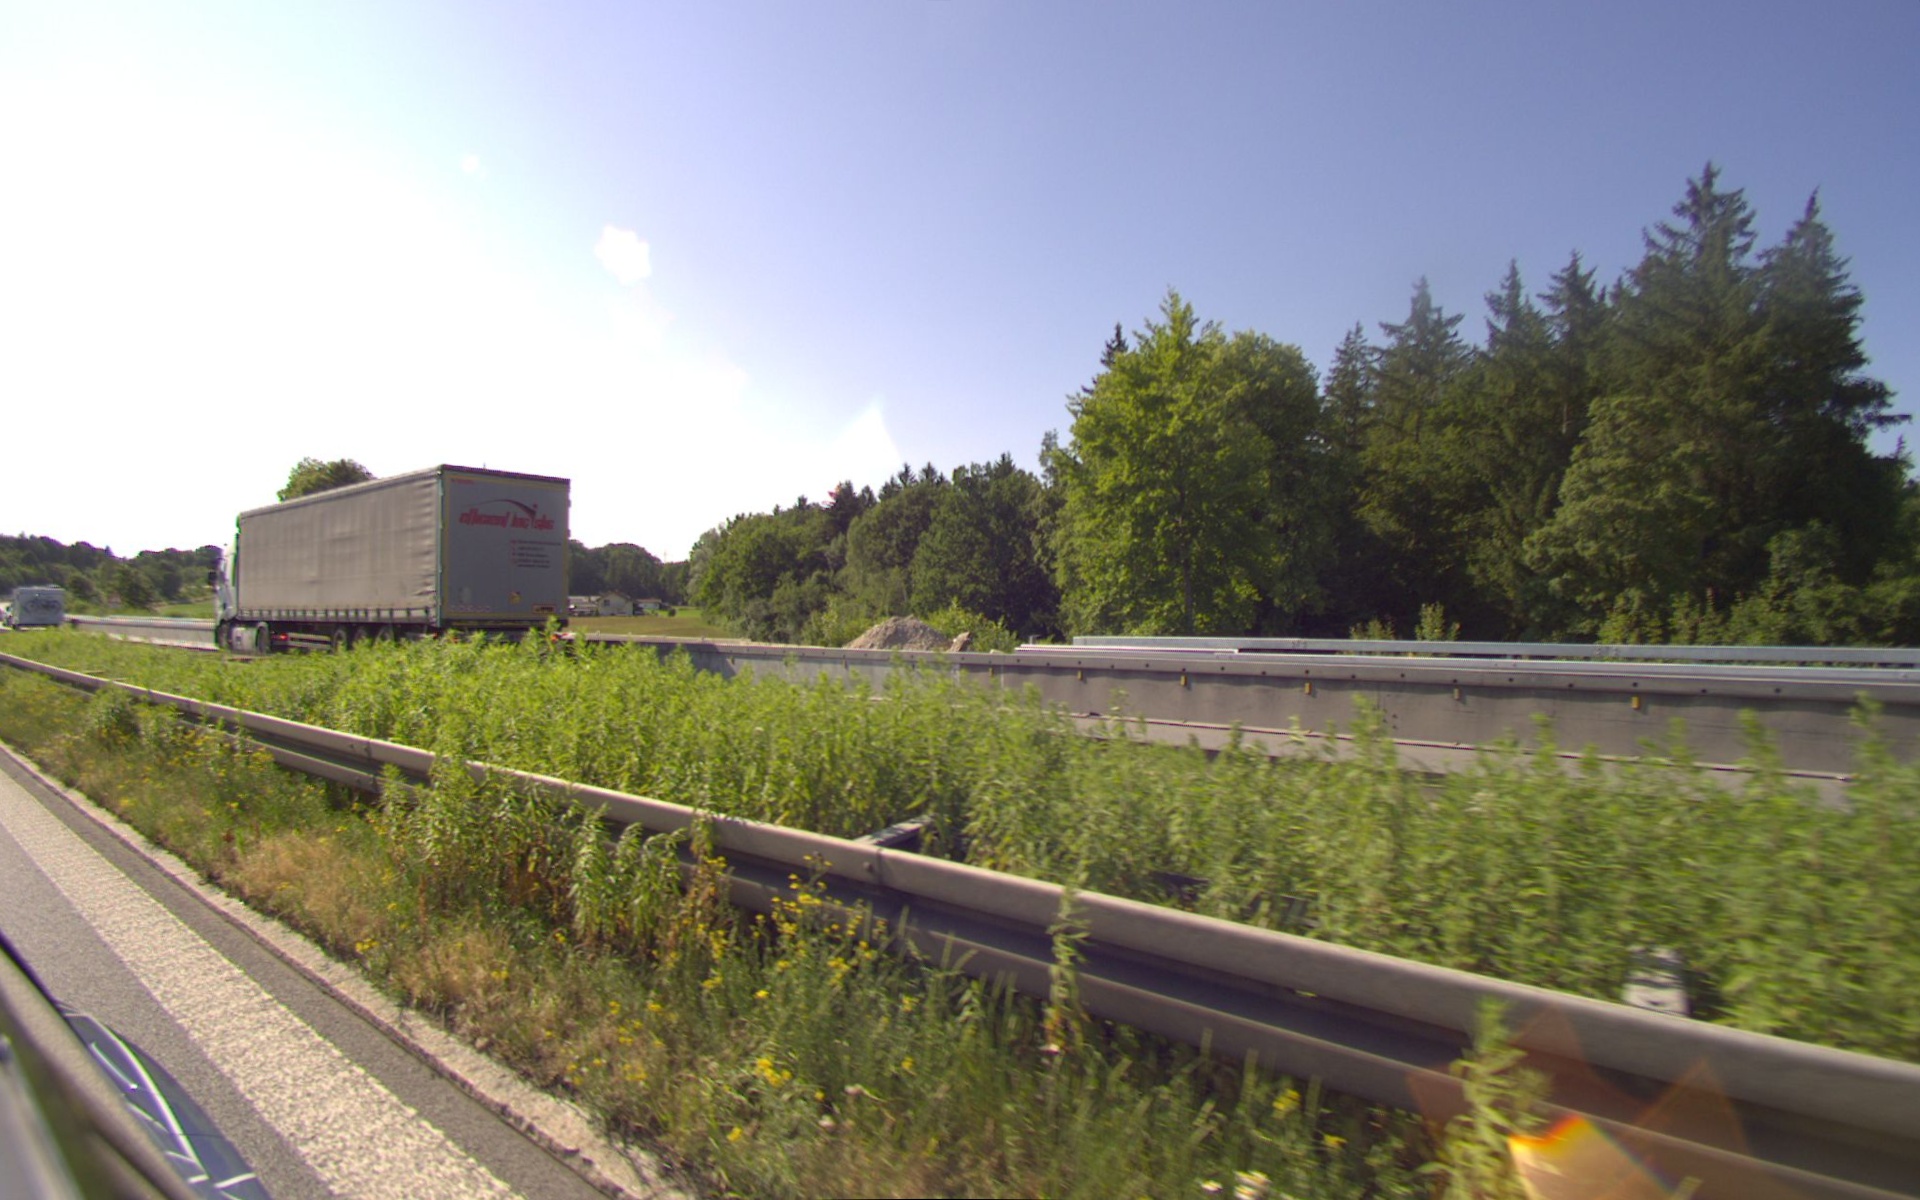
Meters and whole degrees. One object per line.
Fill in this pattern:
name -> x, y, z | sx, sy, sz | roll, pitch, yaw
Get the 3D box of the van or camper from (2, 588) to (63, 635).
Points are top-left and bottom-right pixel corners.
van or camper -> -62.386, 0.782, 68.015 | 7.521, 2.973, 2.380 | -1, -1, 43

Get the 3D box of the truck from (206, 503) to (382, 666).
truck -> -18.759, -0.337, 28.412 | 5.473, 4.119, 2.741 | -1, -2, 42

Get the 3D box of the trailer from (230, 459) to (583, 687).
trailer -> -13.674, -0.390, 23.856 | 13.991, 4.101, 2.712 | -1, -2, 42

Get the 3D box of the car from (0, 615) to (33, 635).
car -> -72.949, 1.919, 77.934 | 5.234, 1.443, 1.722 | -1, -4, 42
